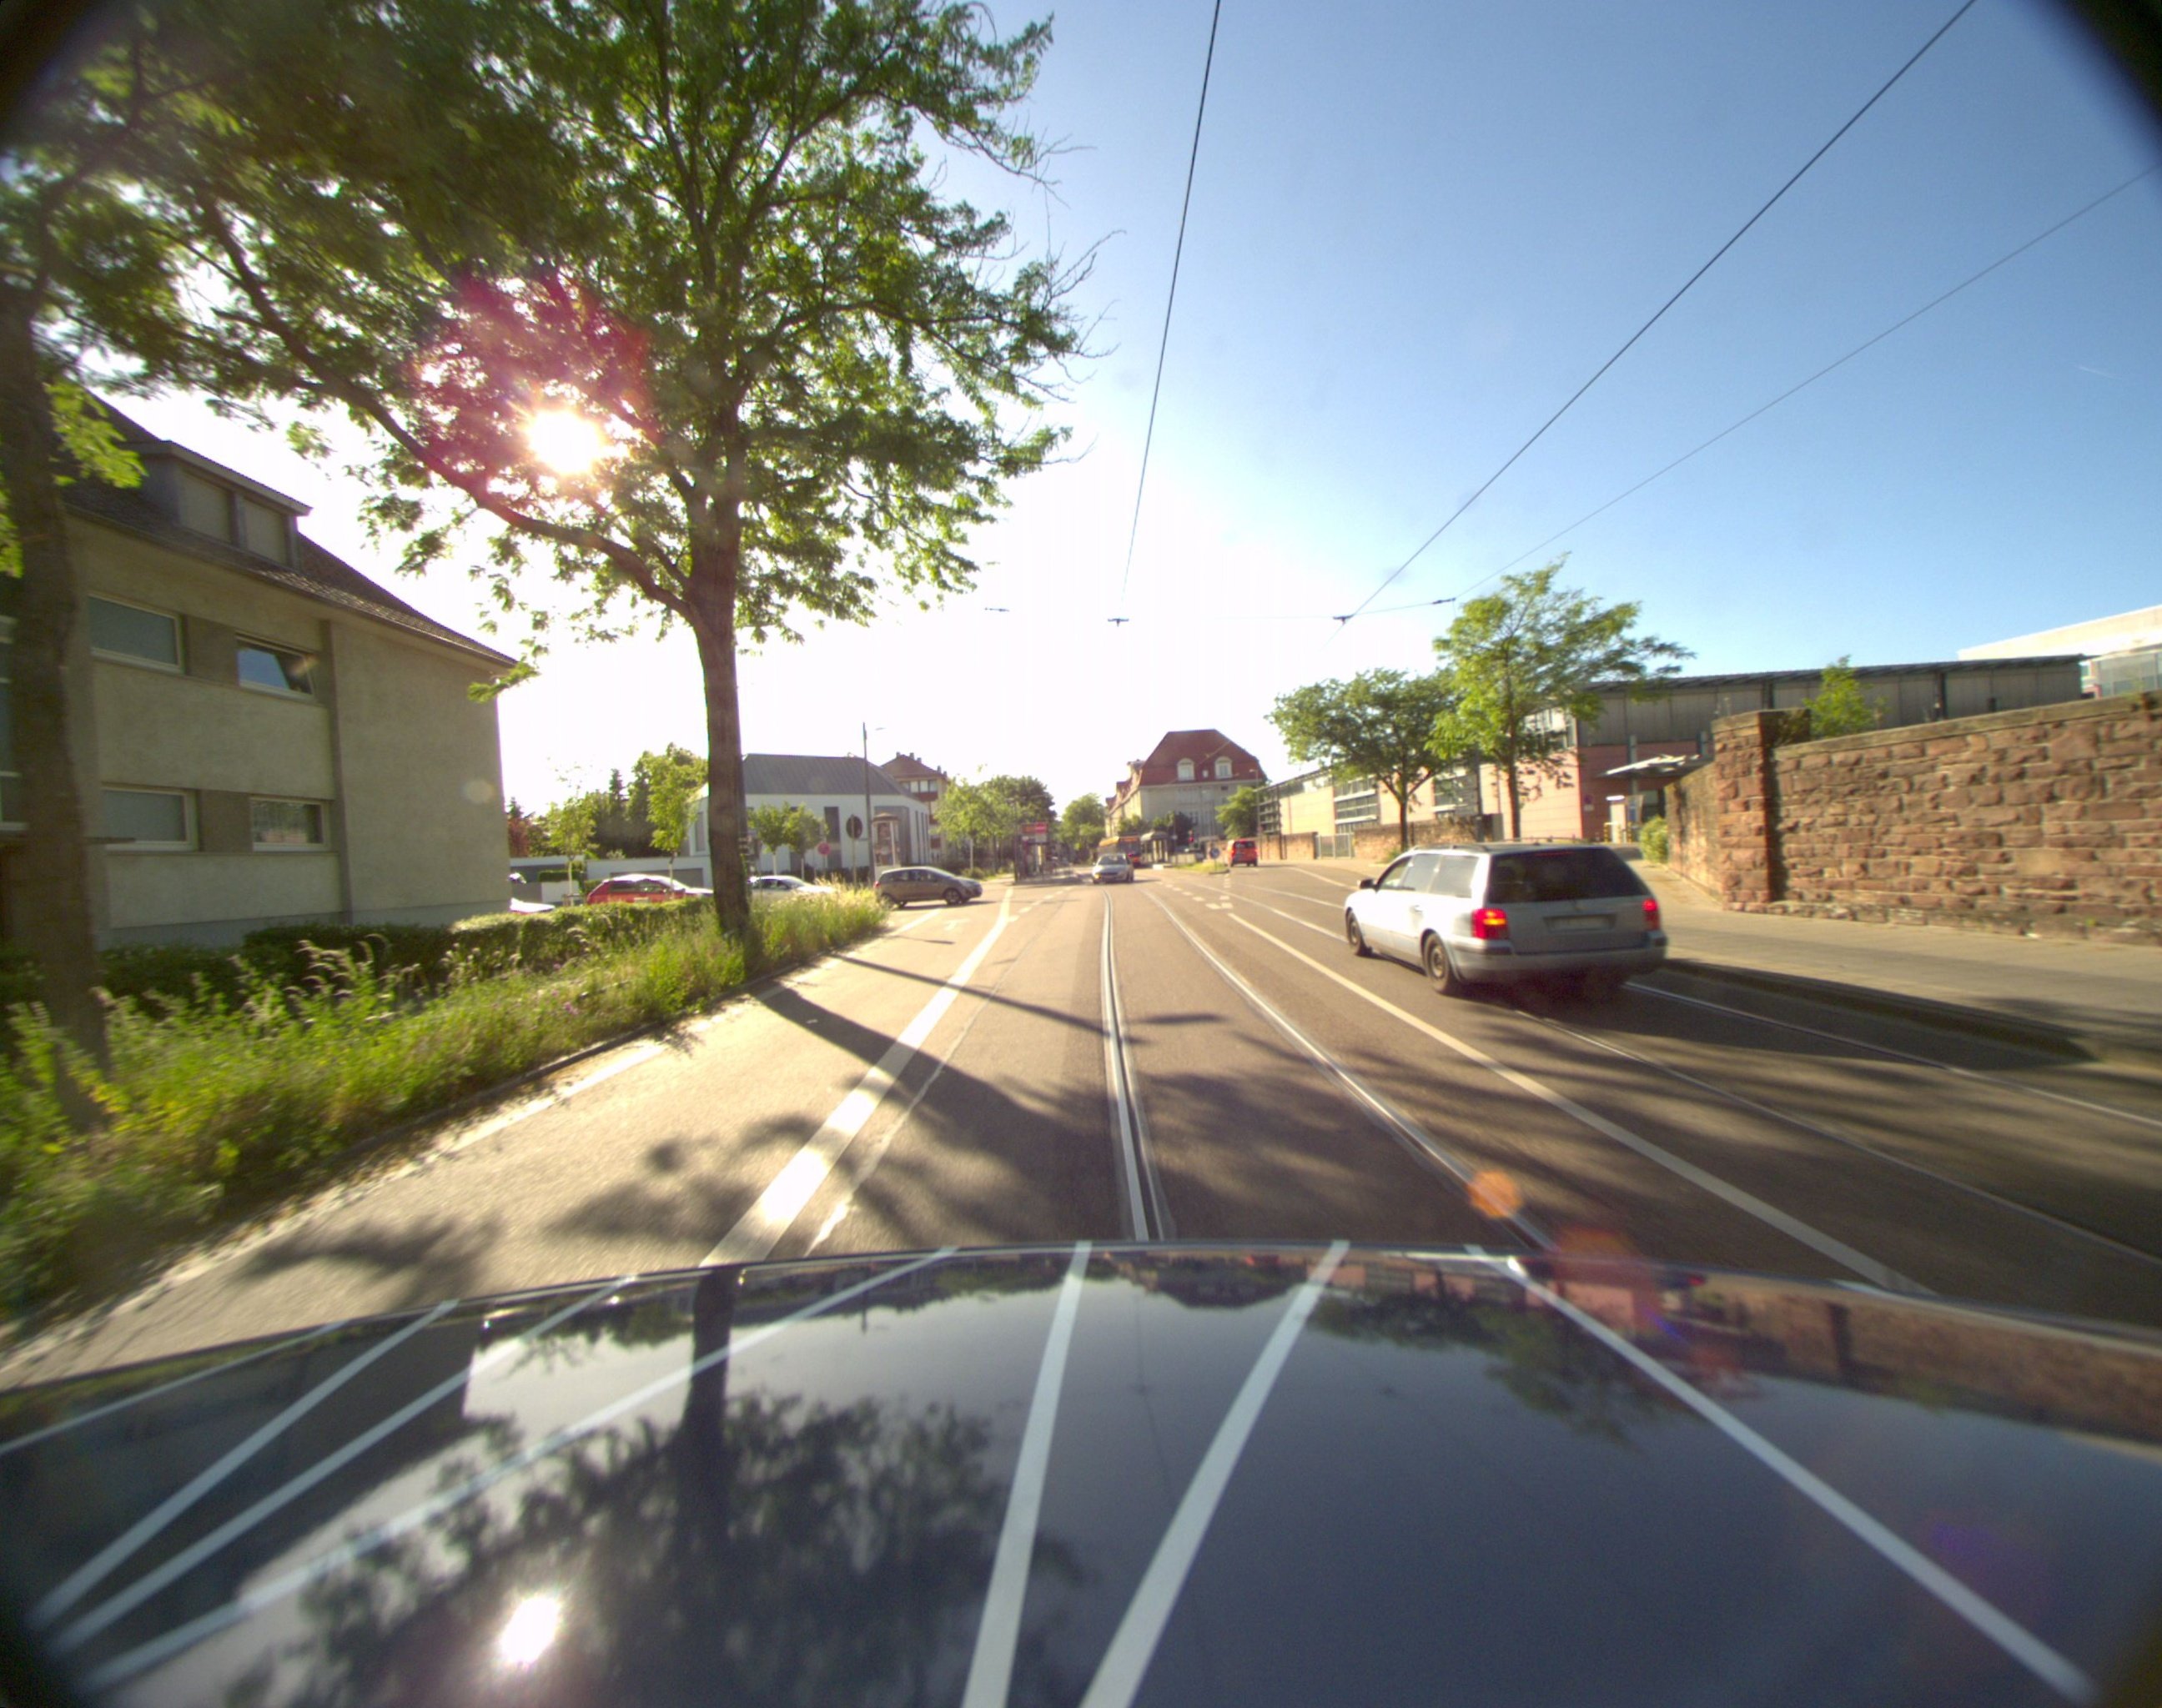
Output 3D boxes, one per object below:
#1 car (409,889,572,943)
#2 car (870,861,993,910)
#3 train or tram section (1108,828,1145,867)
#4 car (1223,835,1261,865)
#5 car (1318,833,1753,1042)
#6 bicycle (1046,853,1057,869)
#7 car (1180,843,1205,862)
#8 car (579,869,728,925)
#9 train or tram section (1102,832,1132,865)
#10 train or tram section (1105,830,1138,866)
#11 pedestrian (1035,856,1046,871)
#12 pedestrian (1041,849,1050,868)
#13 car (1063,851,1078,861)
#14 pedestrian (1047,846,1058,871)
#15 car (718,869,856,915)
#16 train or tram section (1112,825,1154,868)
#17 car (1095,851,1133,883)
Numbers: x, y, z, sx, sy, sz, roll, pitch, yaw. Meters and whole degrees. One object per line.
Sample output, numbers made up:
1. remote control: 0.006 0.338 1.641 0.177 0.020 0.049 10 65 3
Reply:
1. car: -21.297 2.209 27.581 4.175 1.499 1.981 -4 0 -7
2. car: -5.564 1.145 28.535 3.994 1.499 1.983 -4 0 8
3. train or tram section: 4.382 -0.630 73.766 2.811 3.439 6.667 -4 0 -1
4. car: 11.347 -0.305 53.865 1.998 1.954 4.936 -3 0 6
5. car: 4.256 0.636 8.212 1.998 1.515 4.580 -4 0 2
6. bicycle: -2.350 0.567 60.186 0.621 1.222 1.966 -4 0 -5
7. car: 10.862 -0.148 74.418 1.769 1.654 4.209 -3 0 0
8. car: -15.434 1.537 27.606 4.174 1.632 1.981 -4 0 -3
9. train or tram section: 4.085 -0.590 87.105 2.811 3.439 6.667 -4 0 -1
10. train or tram section: 4.235 -0.594 80.412 2.811 3.439 6.667 -4 0 -1
11. pedestrian: -3.287 0.748 61.695 0.740 1.111 0.658 -5 1 -2
12. pedestrian: -3.241 0.440 70.030 0.673 1.694 0.690 -5 1 -2
13. car: -1.761 0.373 127.574 1.743 1.450 3.690 -4 0 -10
14. pedestrian: -2.170 0.310 58.010 0.713 1.843 0.729 -5 1 0
15. car: -11.541 1.487 29.936 4.611 1.458 1.983 -3 2 10
16. train or tram section: 4.509 -0.652 67.079 2.811 3.439 6.667 -4 0 -1
17. car: 1.642 0.636 38.253 1.742 1.450 3.694 -4 0 2
